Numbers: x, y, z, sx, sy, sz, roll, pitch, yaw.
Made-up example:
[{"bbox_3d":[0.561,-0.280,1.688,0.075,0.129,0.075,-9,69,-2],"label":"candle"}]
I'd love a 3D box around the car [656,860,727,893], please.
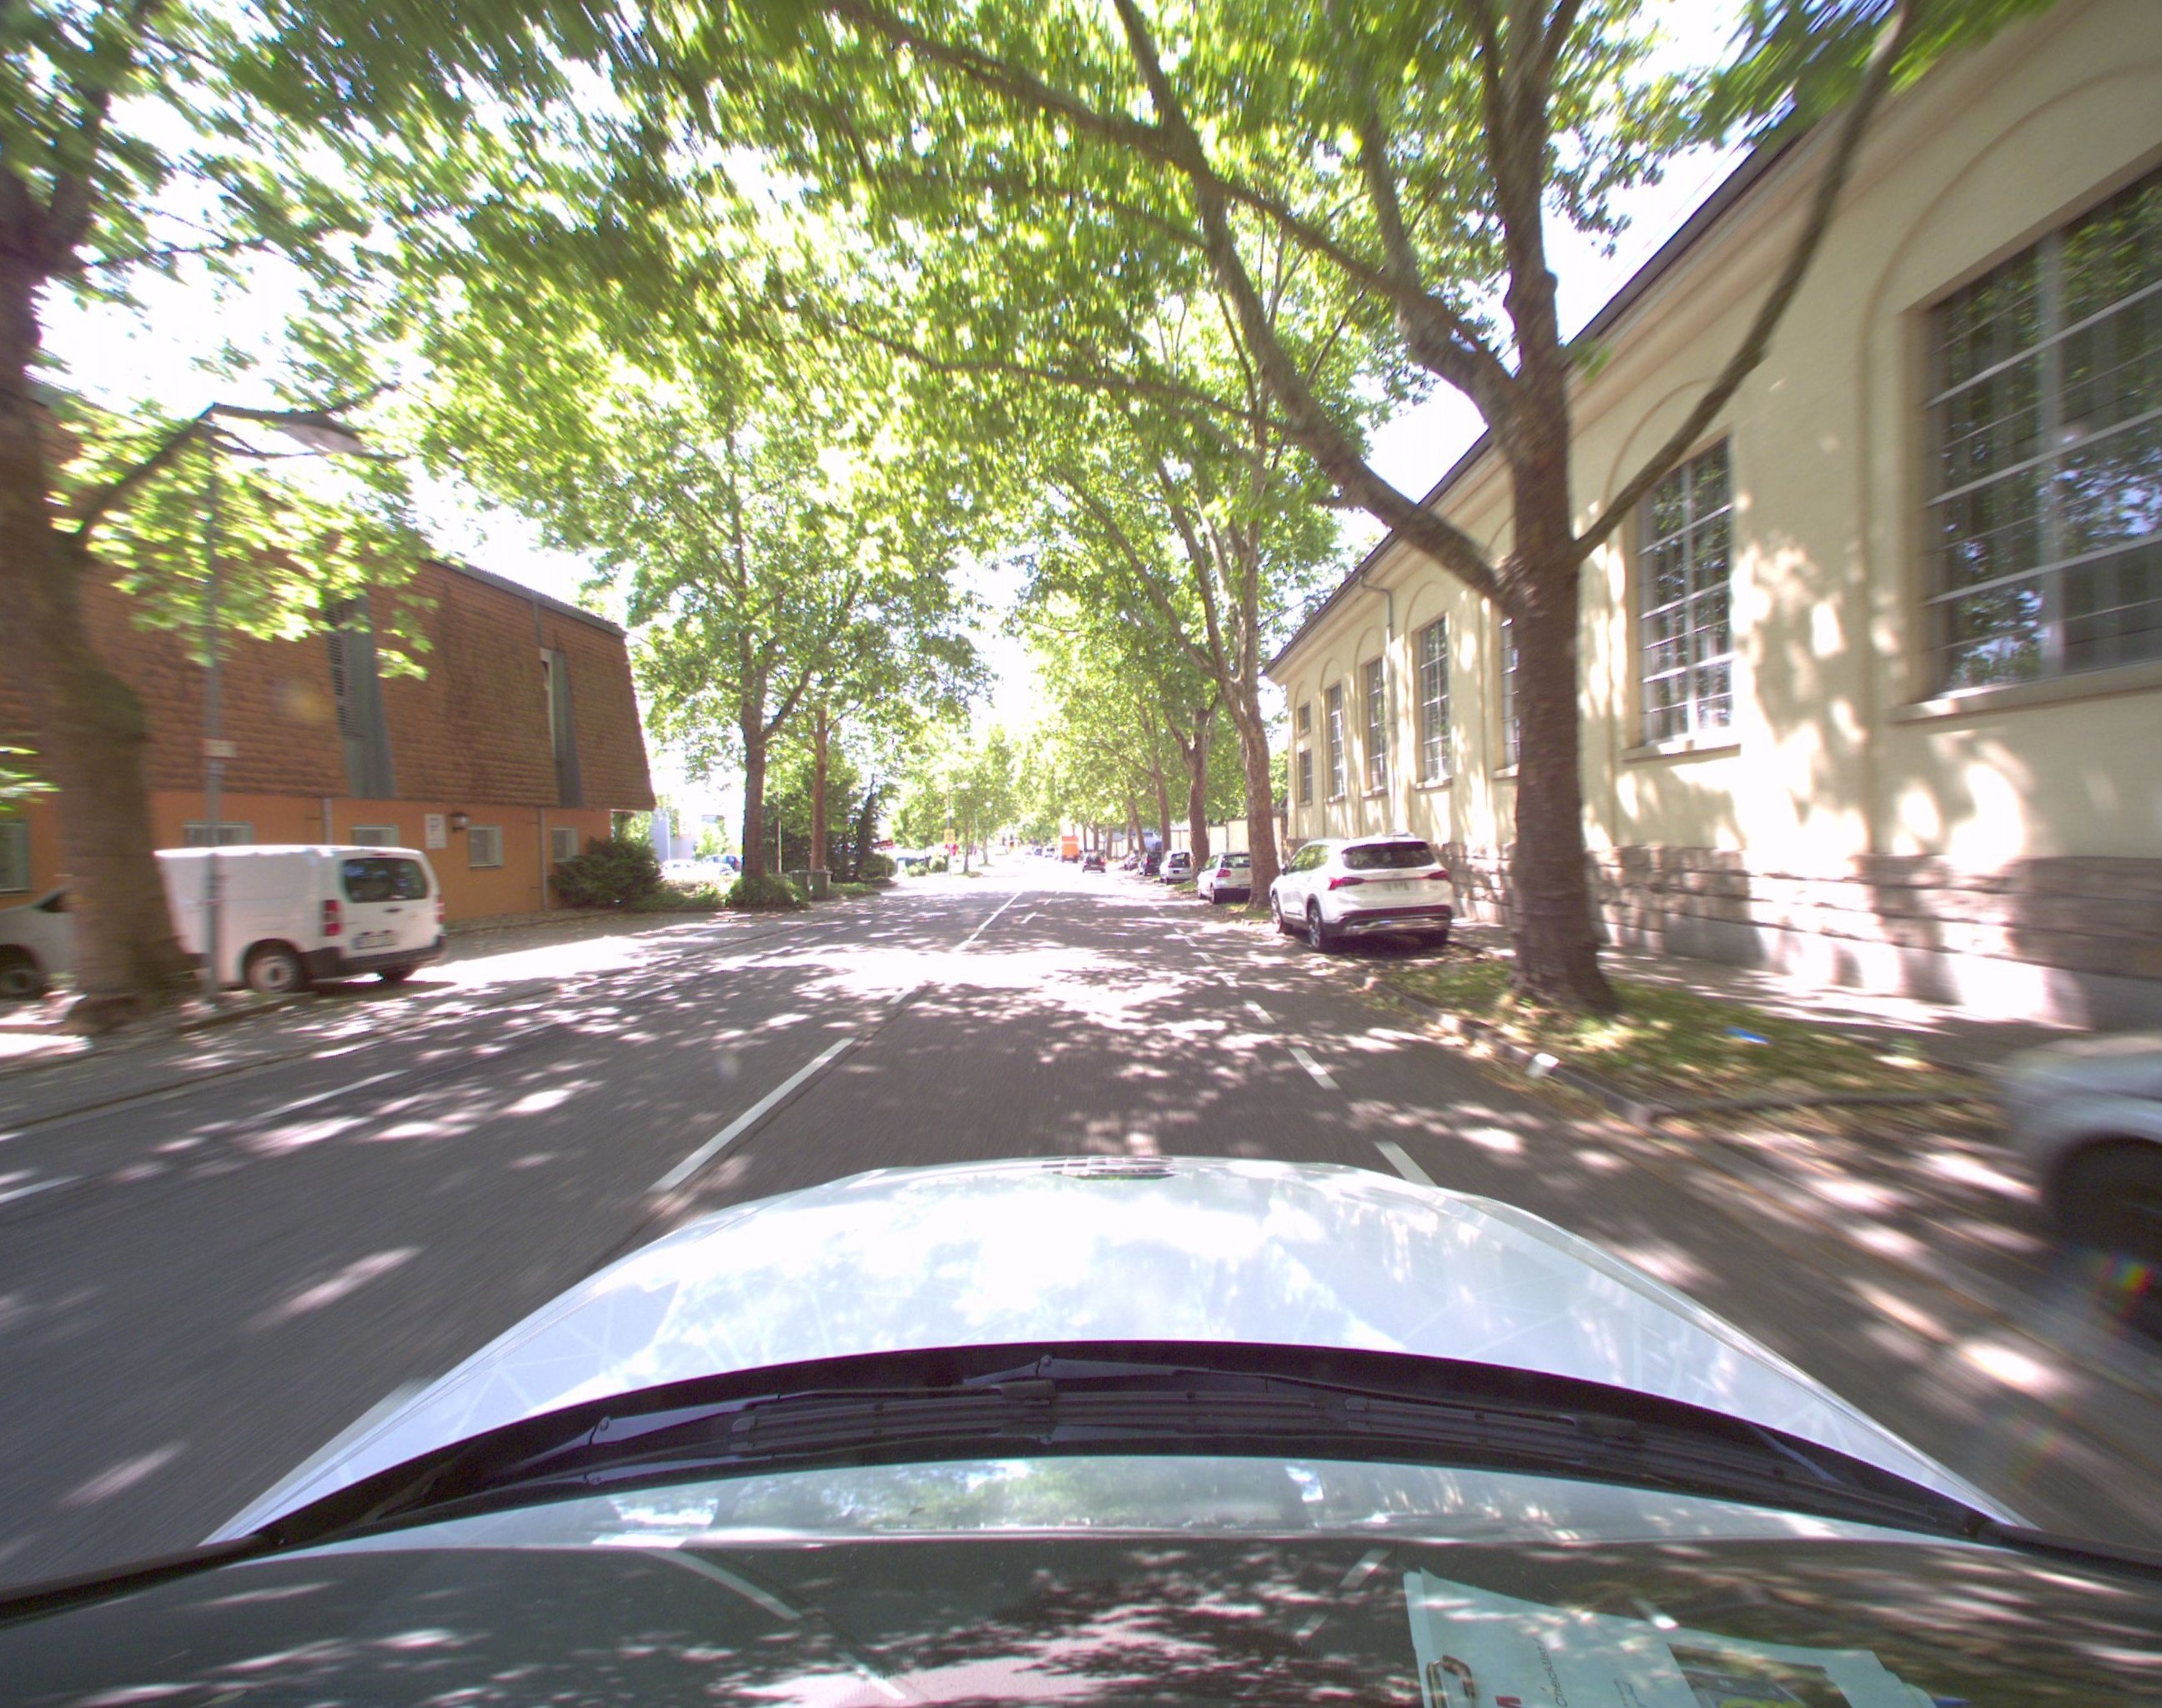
[{"bbox_3d":[-26.481,1.521,55.477,3.993,2.014,1.990,-2,-1,-15],"label":"car"}]

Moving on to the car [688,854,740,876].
[{"bbox_3d":[-30.058,0.881,66.813,3.770,1.586,1.595,-2,0,-21],"label":"car"}]

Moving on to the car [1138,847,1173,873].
[{"bbox_3d":[4.640,0.377,51.026,1.761,1.465,3.875,-3,0,0],"label":"car"}]

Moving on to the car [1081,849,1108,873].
[{"bbox_3d":[0.952,0.454,59.016,1.706,1.447,4.056,-3,2,-2],"label":"car"}]

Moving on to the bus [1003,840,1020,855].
[{"bbox_3d":[-15.796,-1.372,185.273,2.664,3.150,11.155,-2,0,-11],"label":"bus"}]

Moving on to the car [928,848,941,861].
[{"bbox_3d":[-24.549,0.055,136.142,1.994,2.014,3.984,-2,-1,-11],"label":"car"}]

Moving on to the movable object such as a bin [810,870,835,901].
[{"bbox_3d":[-8.997,1.085,28.381,0.621,1.048,0.620,-2,0,1],"label":"movable object such as a bin"}]

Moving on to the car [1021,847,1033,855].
[{"bbox_3d":[-10.160,-0.523,154.271,1.767,1.374,3.716,-3,0,-11],"label":"car"}]

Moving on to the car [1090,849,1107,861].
[{"bbox_3d":[2.066,0.098,97.694,1.762,1.374,3.725,-2,0,-3],"label":"car"}]

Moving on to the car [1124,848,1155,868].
[{"bbox_3d":[4.344,0.300,60.736,1.763,1.374,3.726,-3,0,-3],"label":"car"}]

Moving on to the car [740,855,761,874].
[{"bbox_3d":[-36.732,1.221,90.639,2.000,2.014,3.972,-2,-1,-20],"label":"car"}]

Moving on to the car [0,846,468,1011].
[{"bbox_3d":[-10.386,0.831,10.061,4.117,1.804,1.902,0,0,-2],"label":"car"}]

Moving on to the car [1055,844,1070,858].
[{"bbox_3d":[-2.500,-0.418,108.381,1.774,1.704,3.993,-2,-1,-4],"label":"car"}]

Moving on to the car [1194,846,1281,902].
[{"bbox_3d":[4.525,0.537,24.036,1.761,1.433,3.875,-3,0,0],"label":"car"}]

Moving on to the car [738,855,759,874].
[{"bbox_3d":[-30.152,0.934,73.936,1.606,1.586,3.743,-2,-1,-20],"label":"car"}]

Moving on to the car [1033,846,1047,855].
[{"bbox_3d":[-6.979,-0.534,137.921,1.767,1.374,3.715,-3,0,-11],"label":"car"}]

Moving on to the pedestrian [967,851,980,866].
[{"bbox_3d":[-10.926,0.476,83.016,1.097,1.520,0.963,-2,0,-20],"label":"pedestrian"}]

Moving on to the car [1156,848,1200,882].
[{"bbox_3d":[4.560,0.488,38.575,1.572,1.465,3.875,-3,0,0],"label":"car"}]

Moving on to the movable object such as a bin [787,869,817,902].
[{"bbox_3d":[-9.721,1.083,28.392,0.732,1.078,0.701,-2,0,1],"label":"movable object such as a bin"}]

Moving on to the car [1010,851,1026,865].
[{"bbox_3d":[-7.312,0.444,94.341,1.708,1.447,4.052,-3,0,-4],"label":"car"}]

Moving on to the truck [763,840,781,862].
[{"bbox_3d":[-43.489,-0.382,114.634,2.329,2.892,6.535,-2,-1,-21],"label":"truck"}]

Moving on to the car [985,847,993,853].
[{"bbox_3d":[-24.236,-1.065,214.843,1.721,1.717,3.985,-2,0,-11],"label":"car"}]

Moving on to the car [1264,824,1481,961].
[{"bbox_3d":[4.329,0.493,12.984,1.801,1.689,4.753,-3,0,2],"label":"car"}]

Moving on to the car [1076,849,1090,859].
[{"bbox_3d":[0.334,-0.009,120.181,1.763,1.374,3.726,-3,0,-3],"label":"car"}]

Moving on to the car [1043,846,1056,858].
[{"bbox_3d":[-4.694,-0.335,122.272,1.875,1.685,3.995,-2,-1,-3],"label":"car"}]

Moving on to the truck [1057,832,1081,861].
[{"bbox_3d":[-1.435,-0.798,94.529,2.366,3.134,5.759,-2,-1,-5],"label":"truck"}]

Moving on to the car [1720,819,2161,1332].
[{"bbox_3d":[3.879,0.623,1.720,1.615,1.439,4.434,-3,0,2],"label":"car"}]

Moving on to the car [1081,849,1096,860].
[{"bbox_3d":[1.013,0.071,109.174,1.763,1.374,3.726,-3,0,-3],"label":"car"}]
